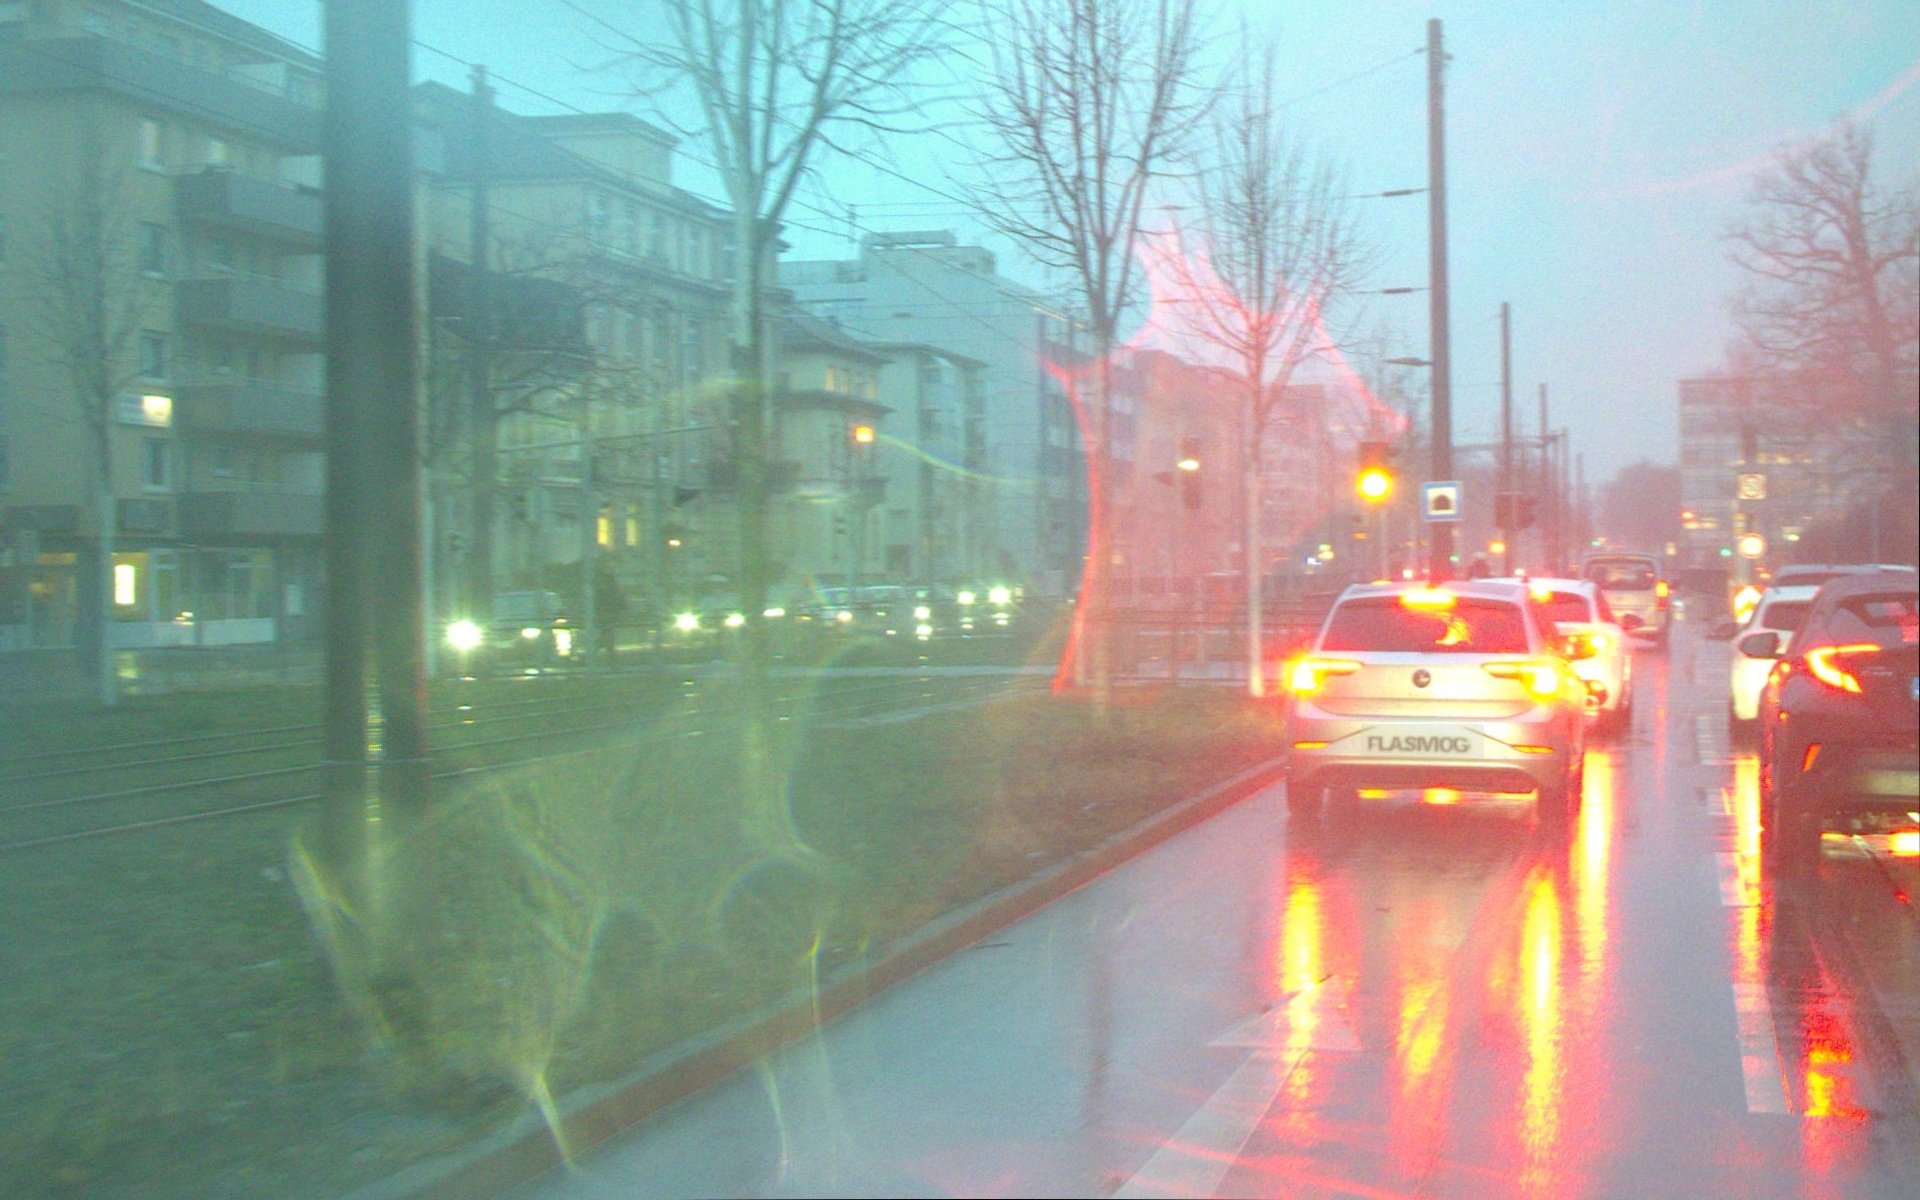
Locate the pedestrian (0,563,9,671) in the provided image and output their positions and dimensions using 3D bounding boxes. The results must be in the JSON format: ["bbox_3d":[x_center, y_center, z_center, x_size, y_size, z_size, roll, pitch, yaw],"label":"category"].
[{"bbox_3d":[-18.386,0.319,63.955,1.269,2.007,1.008,-1,0,-12],"label":"pedestrian"}]

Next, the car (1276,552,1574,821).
[{"bbox_3d":[3.038,0.476,21.888,1.694,1.528,3.998,1,1,10],"label":"car"}]

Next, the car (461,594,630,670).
[{"bbox_3d":[-7.766,0.582,64.797,1.860,1.327,4.313,1,0,12],"label":"car"}]

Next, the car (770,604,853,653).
[{"bbox_3d":[-4.018,0.759,93.551,1.691,1.273,4.147,0,0,6],"label":"car"}]

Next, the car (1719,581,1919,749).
[{"bbox_3d":[7.956,0.563,31.892,1.746,1.428,3.729,1,0,12],"label":"car"}]

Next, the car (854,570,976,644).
[{"bbox_3d":[-0.998,0.155,78.482,1.994,1.597,3.998,1,0,11],"label":"car"}]

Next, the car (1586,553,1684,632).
[{"bbox_3d":[12.733,-0.150,64.708,1.738,1.415,4.391,-1,0,12],"label":"car"}]

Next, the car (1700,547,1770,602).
[{"bbox_3d":[20.690,-0.688,91.866,1.738,1.415,4.144,-1,0,12],"label":"car"}]

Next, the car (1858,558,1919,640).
[{"bbox_3d":[17.075,-0.039,61.589,1.738,1.415,3.701,-1,0,12],"label":"car"}]

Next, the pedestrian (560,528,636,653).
[{"bbox_3d":[-5.889,-0.153,55.886,1.004,2.007,0.962,-1,0,-21],"label":"pedestrian"}]

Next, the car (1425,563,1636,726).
[{"bbox_3d":[5.595,0.386,33.353,1.800,1.461,4.583,-1,0,12],"label":"car"}]

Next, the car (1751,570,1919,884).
[{"bbox_3d":[5.182,0.601,18.358,1.801,1.506,3.893,0,0,12],"label":"car"}]
